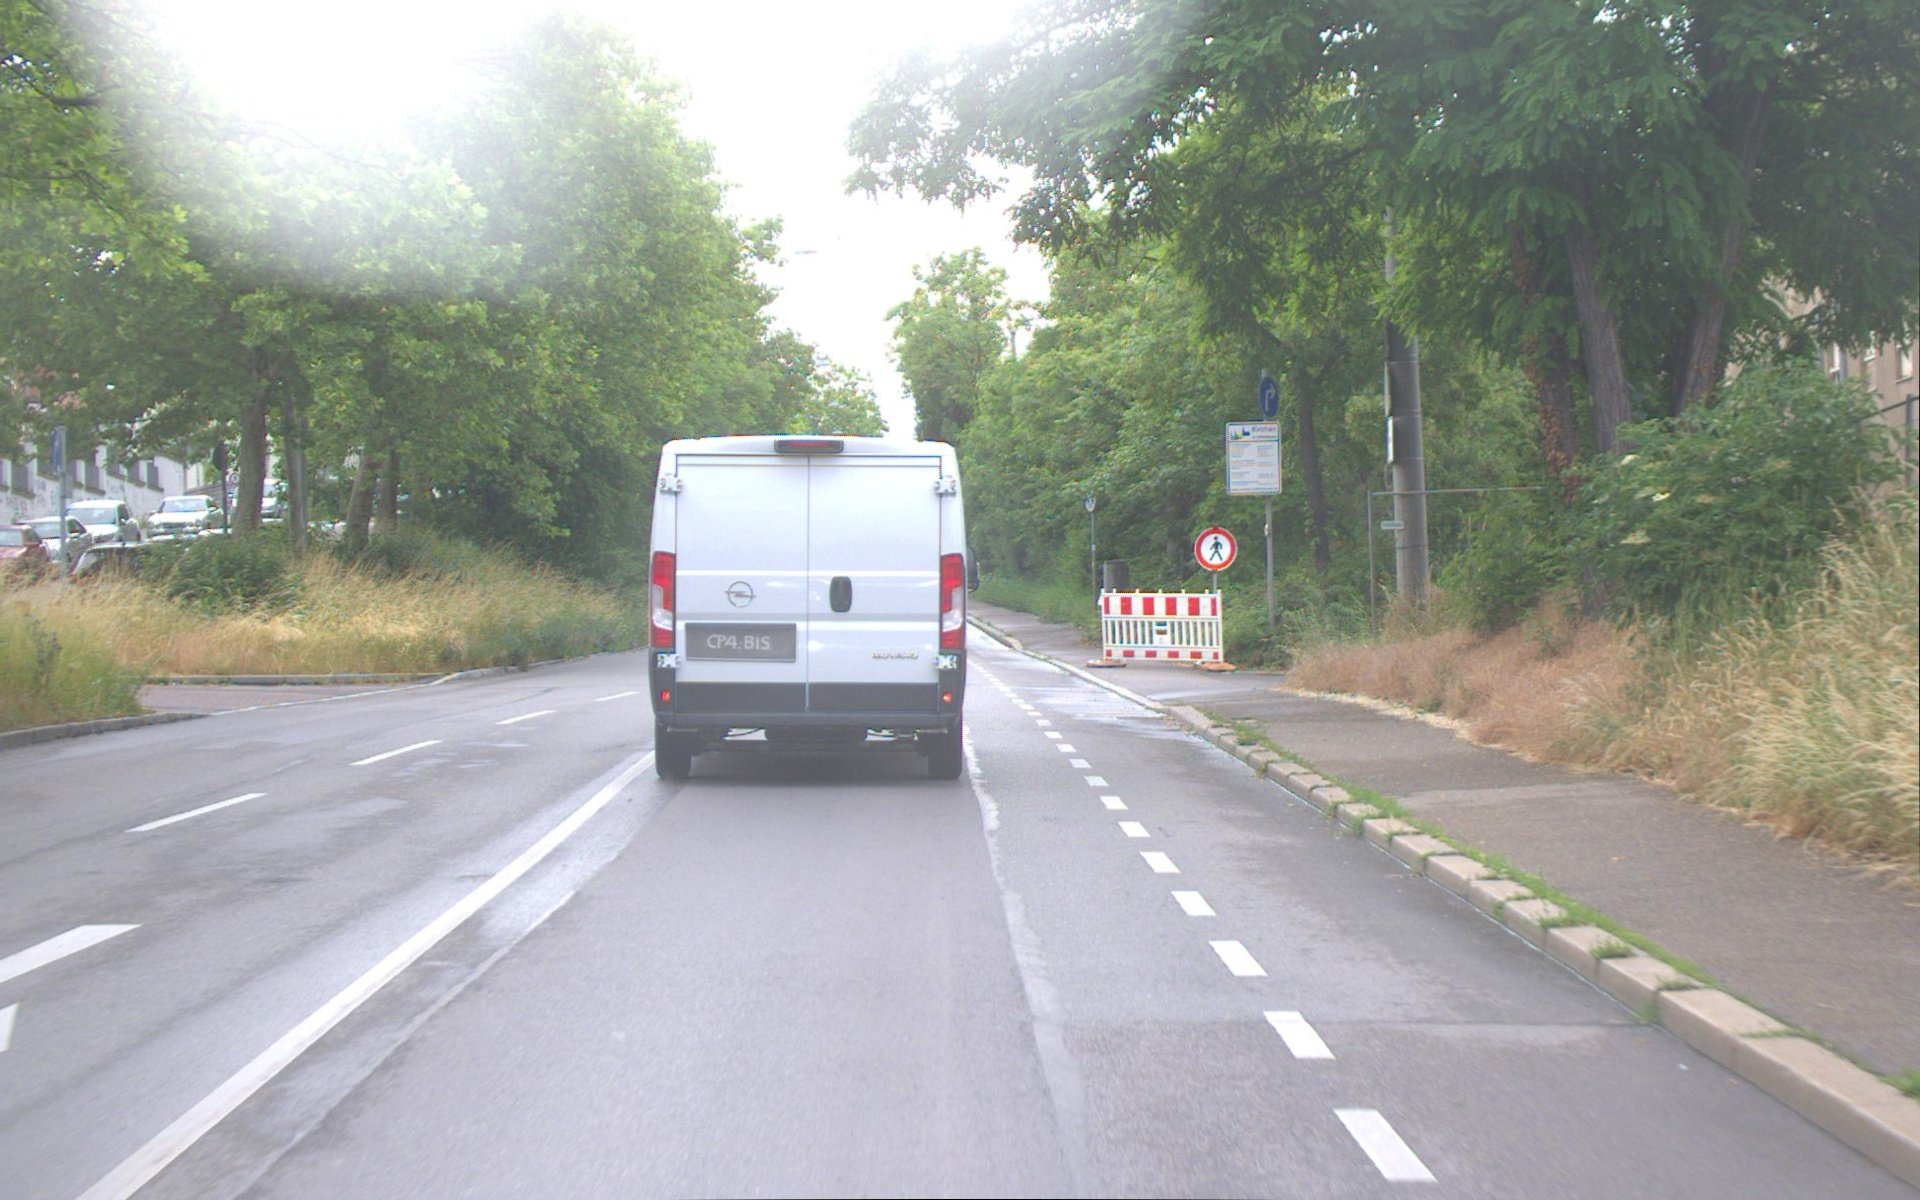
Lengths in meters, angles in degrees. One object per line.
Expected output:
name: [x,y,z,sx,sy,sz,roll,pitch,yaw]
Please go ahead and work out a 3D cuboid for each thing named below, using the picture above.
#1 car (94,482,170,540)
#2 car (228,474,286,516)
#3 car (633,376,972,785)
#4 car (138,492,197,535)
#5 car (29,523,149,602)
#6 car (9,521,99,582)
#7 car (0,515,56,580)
car: [-21.017,-2.244,87.340,1.382,1.294,3.015,-1,-1,-5]
car: [-24.162,-3.610,118.252,1.599,1.246,2.911,-1,-1,-4]
car: [-1.039,-0.171,24.097,2.050,2.508,4.944,2,1,-1]
car: [-23.456,-2.541,101.783,1.213,1.129,2.452,-1,-1,-2]
car: [-13.877,-0.584,54.849,1.350,1.127,2.753,-1,-1,-4]
car: [-21.459,-1.138,81.501,1.360,1.305,3.086,-1,-1,-1]
car: [-21.173,-1.142,76.435,1.360,1.305,3.086,-1,-1,-1]
